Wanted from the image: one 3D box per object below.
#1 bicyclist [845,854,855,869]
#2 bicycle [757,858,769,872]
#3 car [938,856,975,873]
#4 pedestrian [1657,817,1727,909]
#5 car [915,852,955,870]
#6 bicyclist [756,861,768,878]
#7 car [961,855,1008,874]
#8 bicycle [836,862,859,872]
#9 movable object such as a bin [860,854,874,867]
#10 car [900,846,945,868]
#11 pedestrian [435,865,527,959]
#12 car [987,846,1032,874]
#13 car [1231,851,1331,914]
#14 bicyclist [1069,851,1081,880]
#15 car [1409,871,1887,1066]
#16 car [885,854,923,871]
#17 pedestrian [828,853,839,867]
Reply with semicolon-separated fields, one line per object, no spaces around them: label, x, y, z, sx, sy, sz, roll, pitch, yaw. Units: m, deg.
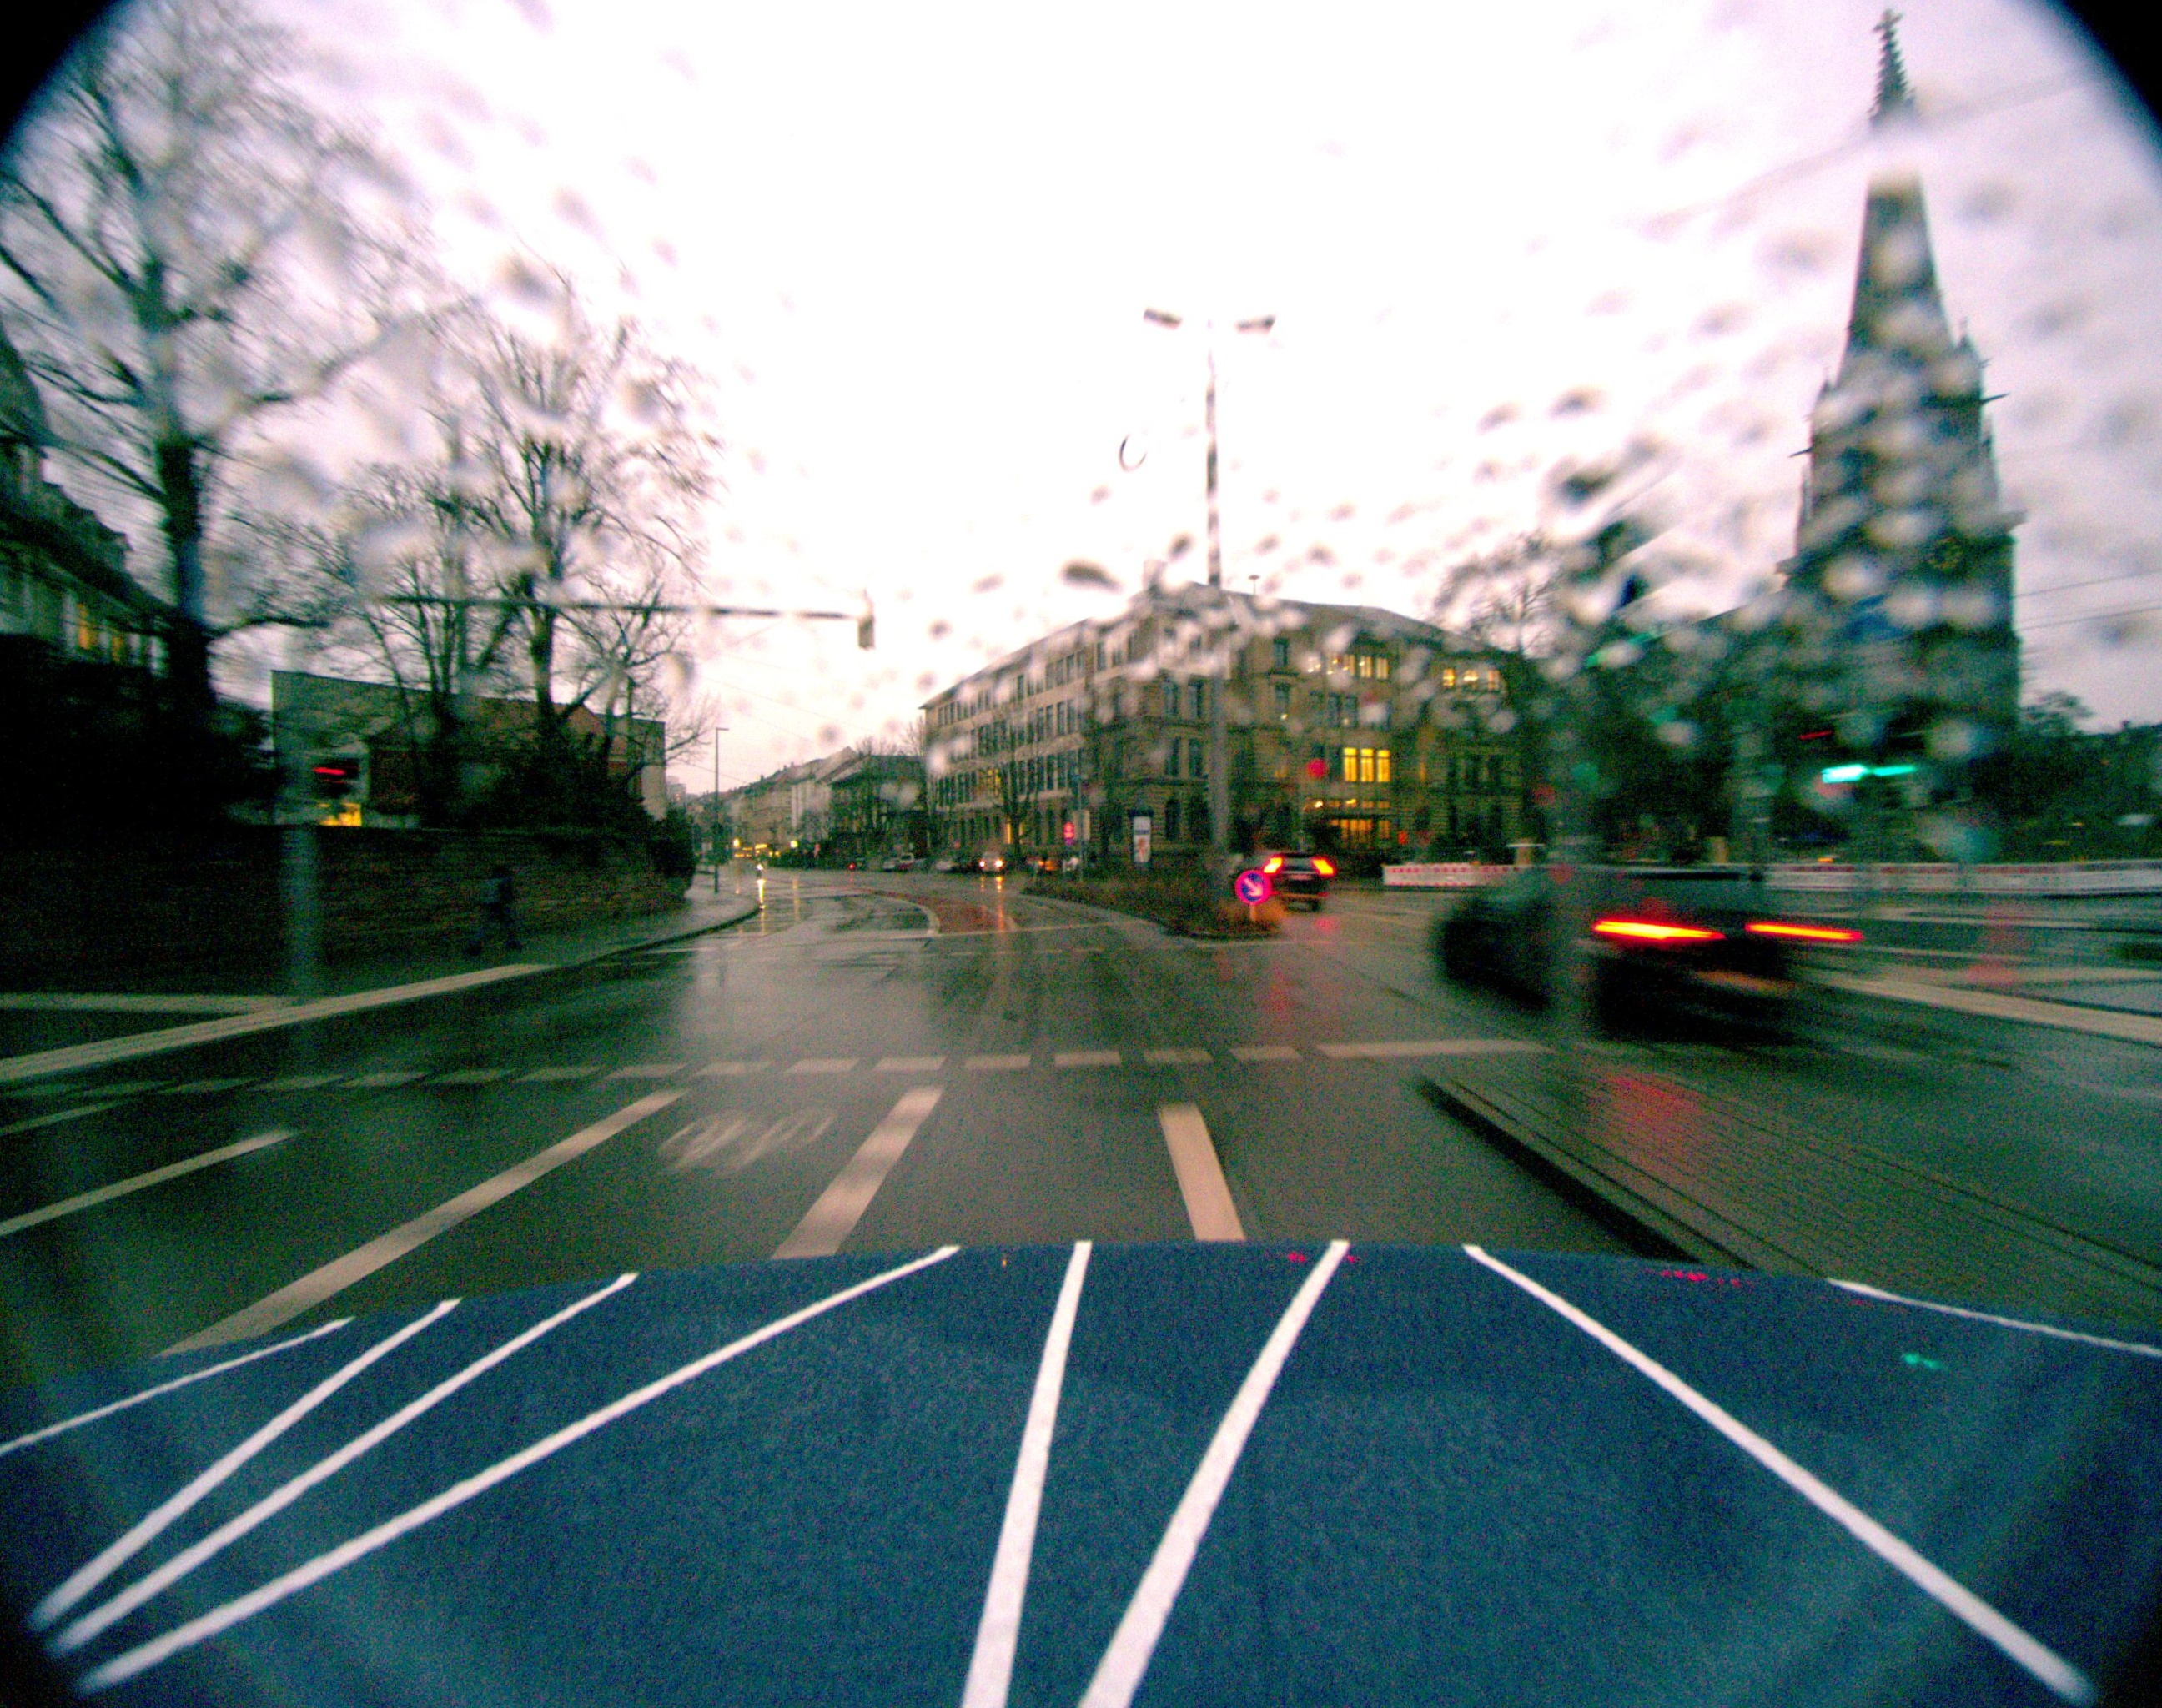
bicyclist;-24.104;0.751;79.385;0.858;1.586;0.779;-1;1;-29
bicycle;-25.678;0.892;61.309;0.725;1.084;2.281;-3;0;-26
car;-11.945;0.983;73.055;1.633;1.449;3.831;-1;2;23
pedestrian;16.278;0.225;20.278;0.996;2.357;1.064;-3;2;-3
car;-14.759;0.720;77.107;1.819;1.531;3.982;-1;2;29
bicyclist;-25.763;1.274;61.350;0.718;1.335;0.718;-4;3;-26
car;-8.739;0.937;68.840;1.795;1.449;4.484;-1;2;30
bicycle;-24.398;1.340;79.332;2.125;0.939;0.942;-4;3;-30
movable object such as a bin;-26.463;0.786;93.951;1.341;1.456;0.987;-2;2;19
car;-16.562;0.279;79.690;1.961;2.042;4.629;-1;2;29
pedestrian;-11.185;1.053;14.201;0.807;1.675;1.156;0;0;0
car;-5.951;0.454;63.849;1.908;2.022;4.809;-2;2;19
car;5.735;0.768;22.336;1.758;1.652;4.530;0;0;0
bicyclist;-0.402;0.730;48.467;0.611;1.758;0.589;-2;3;10
car;5.207;0.914;7.902;1.751;1.370;4.366;0;0;1
car;-19.640;0.944;84.419;1.771;1.582;4.191;-1;2;27
pedestrian;-32.504;0.809;99.713;0.945;1.694;0.925;-1;3;34
